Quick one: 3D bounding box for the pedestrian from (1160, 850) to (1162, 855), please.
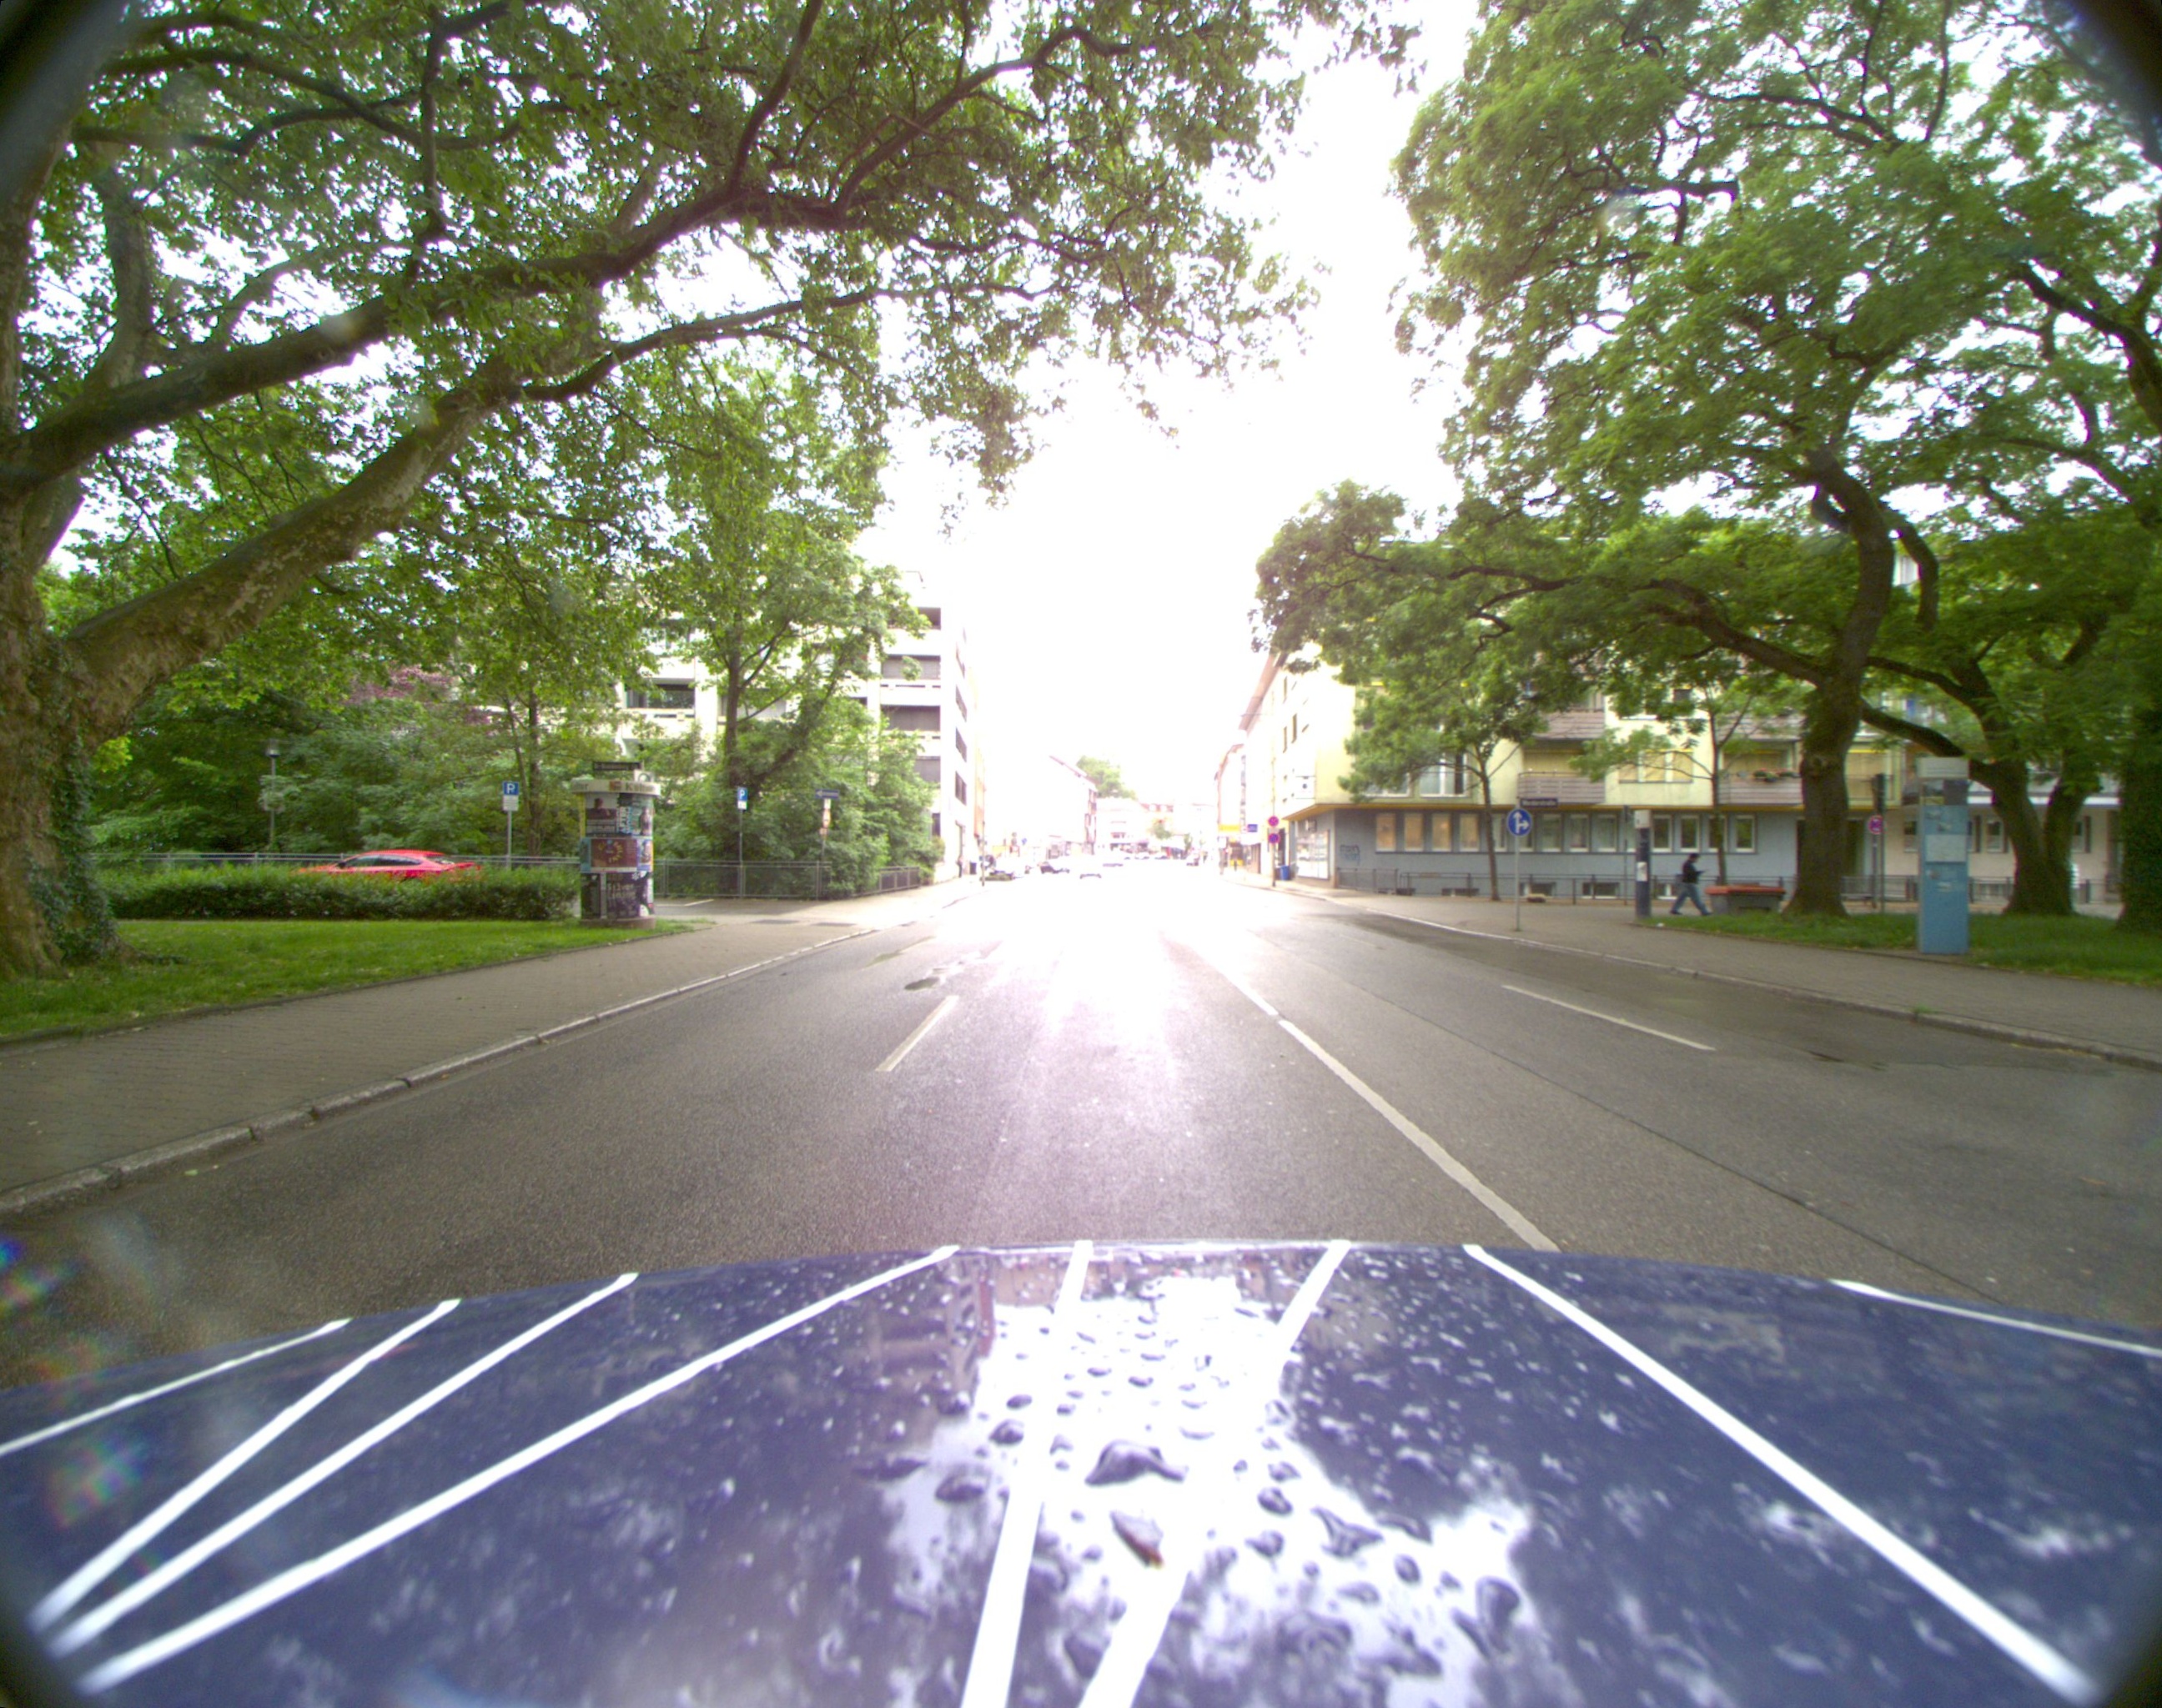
[{"bbox_3d":[18.896,-0.408,178.827,0.379,1.283,0.401,1,1,39],"label":"pedestrian"}]

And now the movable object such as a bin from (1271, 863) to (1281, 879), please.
[{"bbox_3d":[13.017,1.131,50.633,0.517,0.994,0.524,-4,0,8],"label":"movable object such as a bin"}]

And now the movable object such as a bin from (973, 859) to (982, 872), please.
[{"bbox_3d":[-8.562,0.934,62.808,0.681,1.097,0.514,0,1,-1],"label":"movable object such as a bin"}]

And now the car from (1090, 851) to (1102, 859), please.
[{"bbox_3d":[2.672,0.199,133.910,1.736,1.389,3.744,0,0,8],"label":"car"}]

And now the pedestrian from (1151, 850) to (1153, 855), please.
[{"bbox_3d":[16.794,-0.331,180.315,0.379,1.283,0.401,1,1,39],"label":"pedestrian"}]

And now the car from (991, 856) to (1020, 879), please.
[{"bbox_3d":[-5.314,0.933,53.605,1.706,1.549,3.804,1,0,-1],"label":"car"}]

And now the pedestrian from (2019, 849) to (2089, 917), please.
[{"bbox_3d":[28.018,0.811,21.894,0.918,1.913,0.820,0,1,6],"label":"pedestrian"}]

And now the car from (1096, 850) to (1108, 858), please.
[{"bbox_3d":[3.982,0.015,143.301,1.736,1.389,3.744,0,0,9],"label":"car"}]

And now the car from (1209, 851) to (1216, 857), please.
[{"bbox_3d":[33.540,-0.105,193.320,1.591,1.518,3.491,0,0,14],"label":"car"}]

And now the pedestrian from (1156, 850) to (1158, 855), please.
[{"bbox_3d":[18.303,-0.419,183.103,0.379,1.283,0.401,0,1,38],"label":"pedestrian"}]

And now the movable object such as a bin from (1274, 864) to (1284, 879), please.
[{"bbox_3d":[12.861,1.120,49.329,0.529,0.922,0.426,-4,0,8],"label":"movable object such as a bin"}]

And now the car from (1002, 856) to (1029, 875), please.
[{"bbox_3d":[-5.153,0.903,60.476,1.835,1.412,4.569,1,0,-1],"label":"car"}]

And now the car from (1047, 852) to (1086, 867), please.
[{"bbox_3d":[-1.747,0.676,93.394,4.687,1.559,1.758,-2,0,2],"label":"car"}]

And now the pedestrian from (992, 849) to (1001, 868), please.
[{"bbox_3d":[-9.295,0.476,83.175,0.806,2.140,0.737,0,1,-23],"label":"pedestrian"}]

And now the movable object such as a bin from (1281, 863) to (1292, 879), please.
[{"bbox_3d":[13.034,1.067,48.234,0.529,0.955,0.435,-4,0,8],"label":"movable object such as a bin"}]

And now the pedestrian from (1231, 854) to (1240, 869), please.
[{"bbox_3d":[16.887,0.847,82.845,0.785,1.578,0.674,-2,0,21],"label":"pedestrian"}]

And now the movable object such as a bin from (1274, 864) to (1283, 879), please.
[{"bbox_3d":[12.942,1.156,49.867,0.465,0.922,0.428,-4,0,8],"label":"movable object such as a bin"}]

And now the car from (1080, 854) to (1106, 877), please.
[{"bbox_3d":[0.855,0.793,55.671,1.756,1.559,4.000,-2,0,1],"label":"car"}]

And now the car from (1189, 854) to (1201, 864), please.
[{"bbox_3d":[18.253,0.732,121.475,1.834,1.612,4.003,0,0,10],"label":"car"}]

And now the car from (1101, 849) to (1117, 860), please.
[{"bbox_3d":[4.624,0.117,123.512,2.016,1.754,4.766,1,0,9],"label":"car"}]

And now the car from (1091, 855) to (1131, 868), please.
[{"bbox_3d":[3.841,0.935,97.182,4.964,1.596,1.563,1,0,5],"label":"car"}]

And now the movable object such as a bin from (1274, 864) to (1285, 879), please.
[{"bbox_3d":[12.757,1.119,48.853,0.529,0.890,0.435,-4,0,8],"label":"movable object such as a bin"}]

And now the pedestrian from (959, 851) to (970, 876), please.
[{"bbox_3d":[-8.024,0.655,52.339,0.599,1.650,0.691,3,0,-7],"label":"pedestrian"}]

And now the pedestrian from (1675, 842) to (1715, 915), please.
[{"bbox_3d":[17.292,0.682,21.424,0.780,2.002,0.754,0,1,31],"label":"pedestrian"}]

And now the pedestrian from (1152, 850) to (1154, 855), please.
[{"bbox_3d":[17.472,-0.399,184.605,0.379,1.283,0.401,0,1,38],"label":"pedestrian"}]

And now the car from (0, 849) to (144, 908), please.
[{"bbox_3d":[-29.532,0.670,21.405,3.932,1.561,1.735,1,0,-4],"label":"car"}]

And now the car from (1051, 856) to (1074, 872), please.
[{"bbox_3d":[-1.941,0.996,78.183,1.758,1.559,3.997,-2,0,-9],"label":"car"}]

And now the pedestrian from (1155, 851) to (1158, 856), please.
[{"bbox_3d":[18.449,-0.107,185.541,0.379,1.283,0.401,1,1,39],"label":"pedestrian"}]

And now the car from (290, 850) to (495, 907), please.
[{"bbox_3d":[-19.553,0.677,21.754,3.999,1.473,1.875,1,1,-5],"label":"car"}]

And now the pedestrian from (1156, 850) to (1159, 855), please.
[{"bbox_3d":[18.011,-0.406,178.951,0.379,1.283,0.401,1,1,40],"label":"pedestrian"}]

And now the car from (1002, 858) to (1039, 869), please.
[{"bbox_3d":[-7.404,1.180,93.638,4.463,1.377,1.476,0,0,1],"label":"car"}]
